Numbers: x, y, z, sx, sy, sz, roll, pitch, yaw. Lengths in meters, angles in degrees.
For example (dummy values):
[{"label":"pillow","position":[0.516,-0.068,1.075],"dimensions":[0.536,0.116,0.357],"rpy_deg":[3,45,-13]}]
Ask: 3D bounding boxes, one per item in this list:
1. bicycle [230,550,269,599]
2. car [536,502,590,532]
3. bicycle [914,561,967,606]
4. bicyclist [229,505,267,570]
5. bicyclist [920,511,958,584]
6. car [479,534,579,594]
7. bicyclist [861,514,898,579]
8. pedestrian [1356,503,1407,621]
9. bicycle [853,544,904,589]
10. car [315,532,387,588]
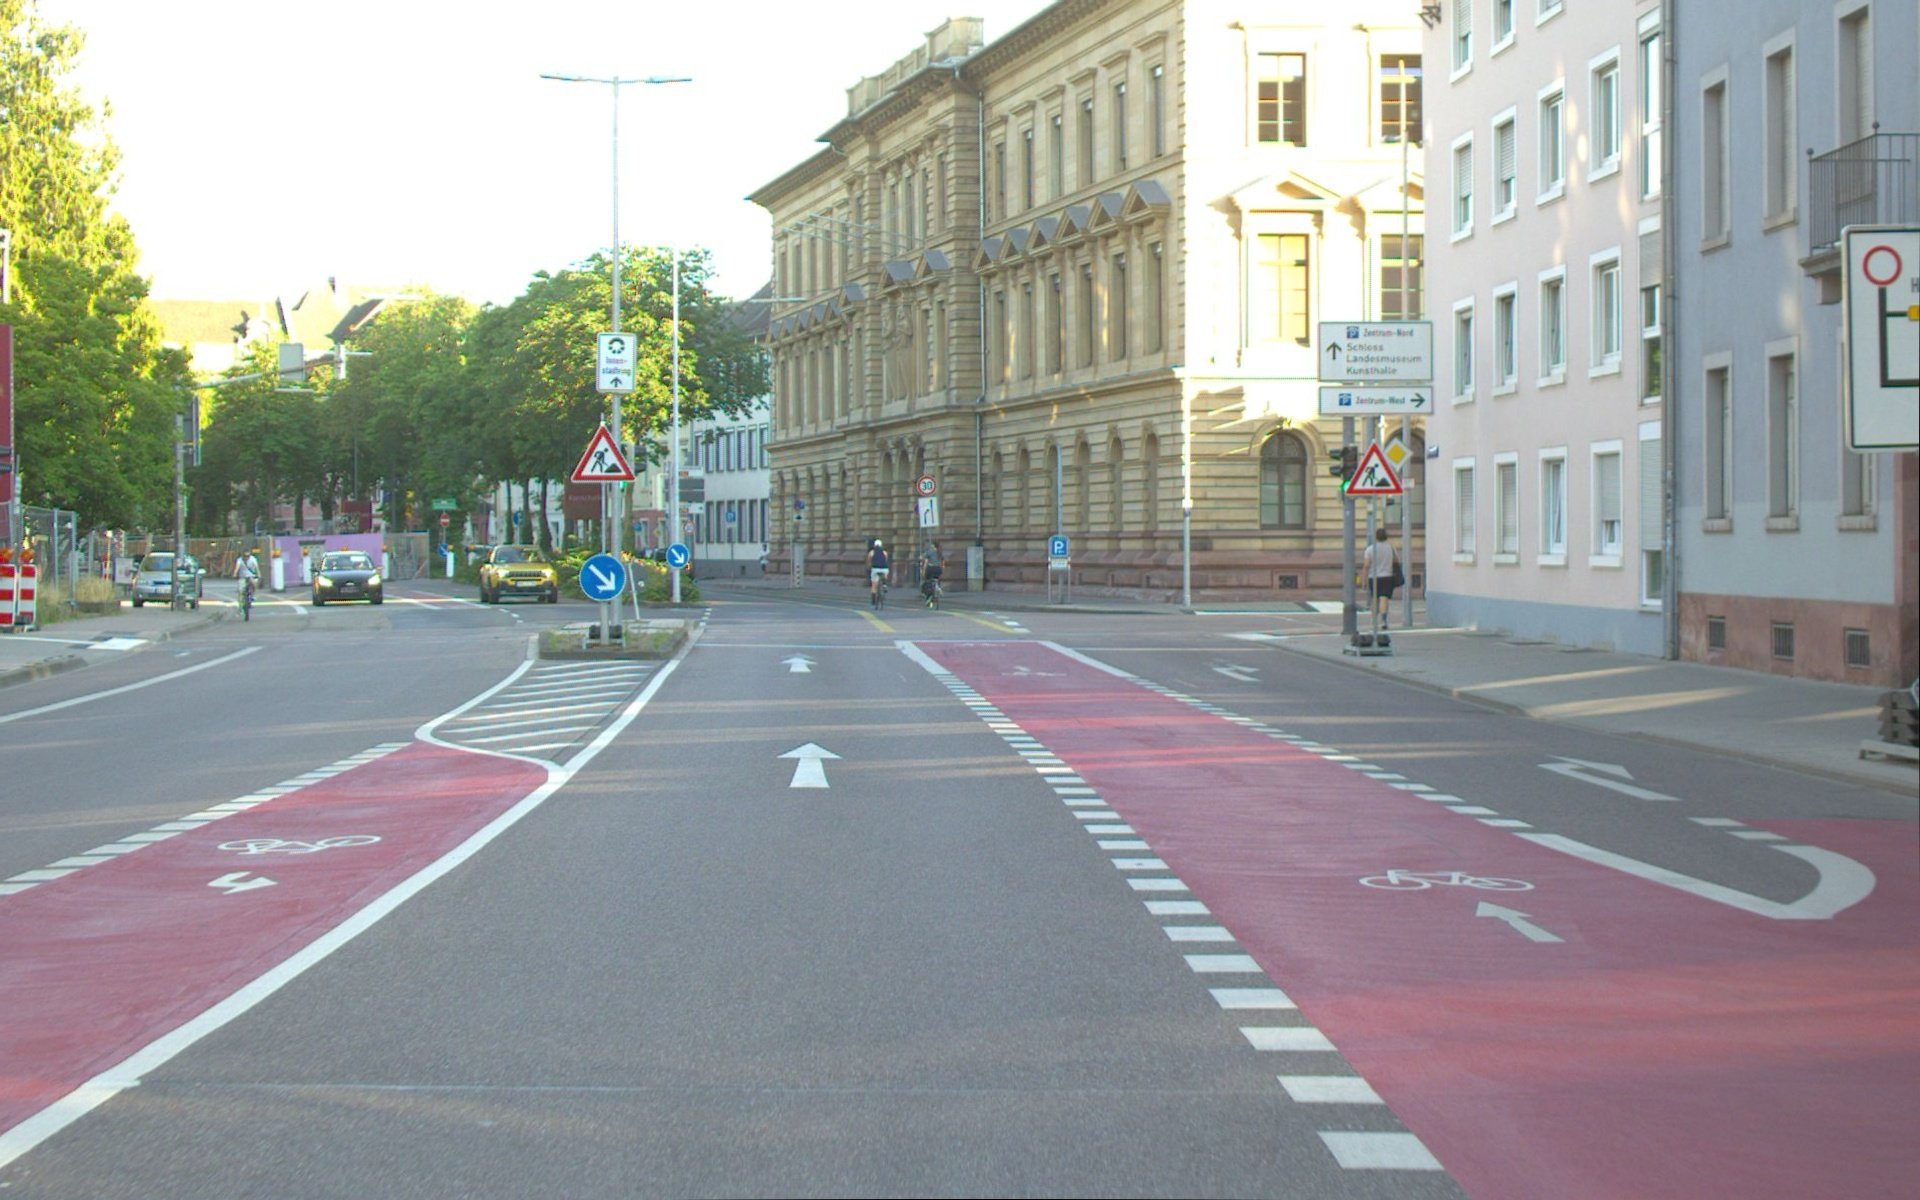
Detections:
[{"label":"bicycle","position":[-16.269,-0.592,78.742],"dimensions":[0.753,1.086,1.933],"rpy_deg":[-2,1,-9]},{"label":"car","position":[-21.419,-4.462,185.308],"dimensions":[1.812,1.554,3.866],"rpy_deg":[0,1,-24]},{"label":"bicycle","position":[-0.490,-0.412,84.038],"dimensions":[0.652,1.067,2.259],"rpy_deg":[2,0,-16]},{"label":"bicyclist","position":[-16.301,-1.429,78.723],"dimensions":[0.747,1.455,0.937],"rpy_deg":[-2,1,-9]},{"label":"bicyclist","position":[-0.512,-1.293,84.237],"dimensions":[0.649,1.754,0.864],"rpy_deg":[2,1,-16]},{"label":"car","position":[-11.420,-0.970,91.322],"dimensions":[1.845,1.542,4.118],"rpy_deg":[-1,1,4]},{"label":"bicyclist","position":[-1.965,-1.299,84.074],"dimensions":[0.668,1.560,0.699],"rpy_deg":[2,0,-19]},{"label":"pedestrian","position":[7.254,-0.662,59.087],"dimensions":[0.785,2.007,0.994],"rpy_deg":[0,1,12]},{"label":"bicycle","position":[-1.994,-0.828,84.129],"dimensions":[0.669,1.067,1.902],"rpy_deg":[1,0,-19]},{"label":"car","position":[-16.763,-1.121,94.807],"dimensions":[1.823,1.503,4.428],"rpy_deg":[0,1,-9]}]
